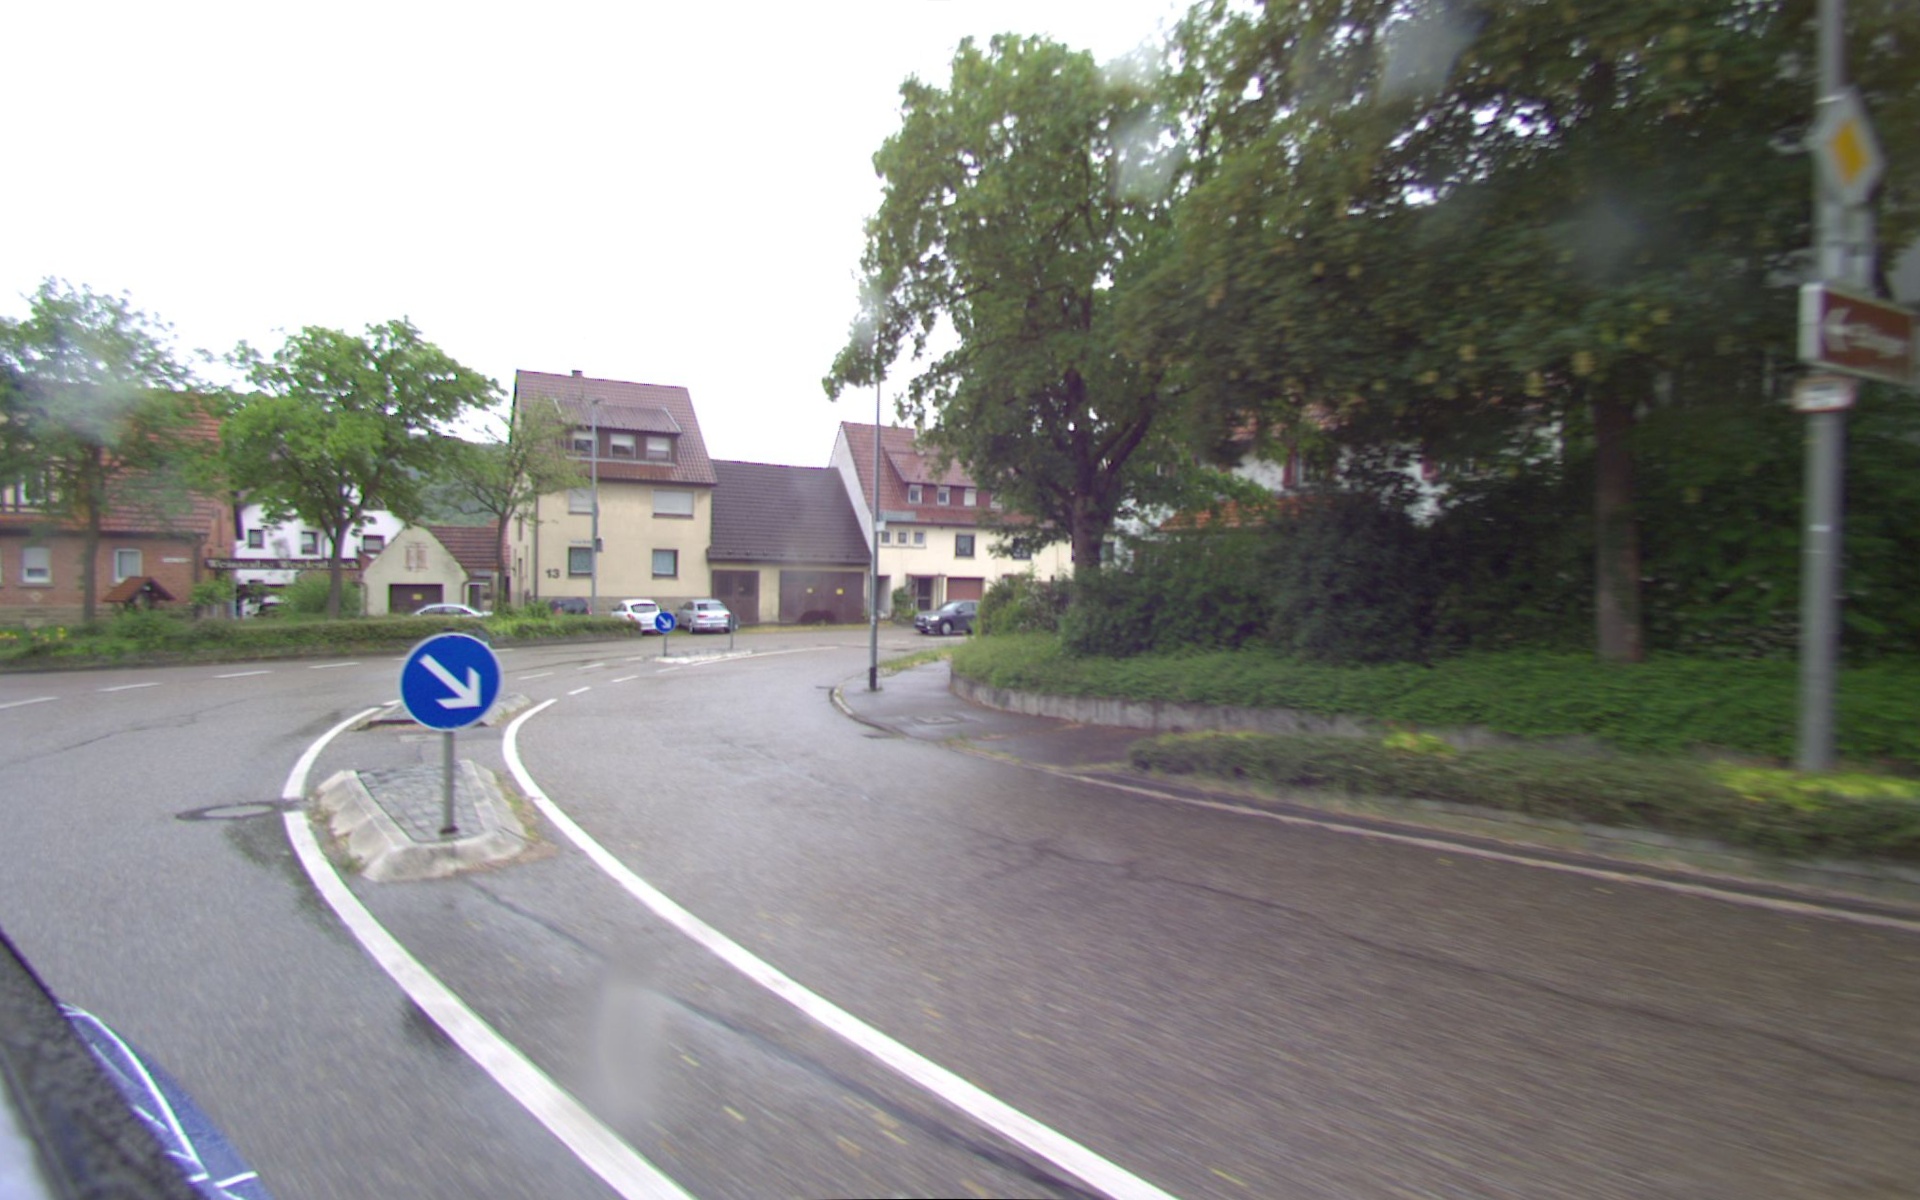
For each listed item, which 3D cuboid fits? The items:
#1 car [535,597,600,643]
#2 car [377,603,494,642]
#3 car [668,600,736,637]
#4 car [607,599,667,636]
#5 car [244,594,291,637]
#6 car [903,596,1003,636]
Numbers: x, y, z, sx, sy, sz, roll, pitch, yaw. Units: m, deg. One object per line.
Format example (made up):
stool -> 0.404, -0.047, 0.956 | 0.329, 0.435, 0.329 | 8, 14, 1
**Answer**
car -> -16.840, 0.809, 43.312 | 1.719, 1.594, 4.011 | -2, 4, -34
car -> -21.664, 0.887, 41.886 | 4.192, 1.450, 1.914 | 0, 2, -29
car -> -11.715, 0.778, 45.795 | 1.790, 1.425, 4.642 | -1, 2, -30
car -> -14.264, 0.748, 44.642 | 1.690, 1.541, 3.441 | -1, 1, -32
car -> -34.312, 0.712, 50.091 | 1.574, 2.029, 4.007 | -1, 1, -39
car -> -0.292, 0.667, 44.984 | 3.931, 1.541, 2.007 | 0, 4, -29
